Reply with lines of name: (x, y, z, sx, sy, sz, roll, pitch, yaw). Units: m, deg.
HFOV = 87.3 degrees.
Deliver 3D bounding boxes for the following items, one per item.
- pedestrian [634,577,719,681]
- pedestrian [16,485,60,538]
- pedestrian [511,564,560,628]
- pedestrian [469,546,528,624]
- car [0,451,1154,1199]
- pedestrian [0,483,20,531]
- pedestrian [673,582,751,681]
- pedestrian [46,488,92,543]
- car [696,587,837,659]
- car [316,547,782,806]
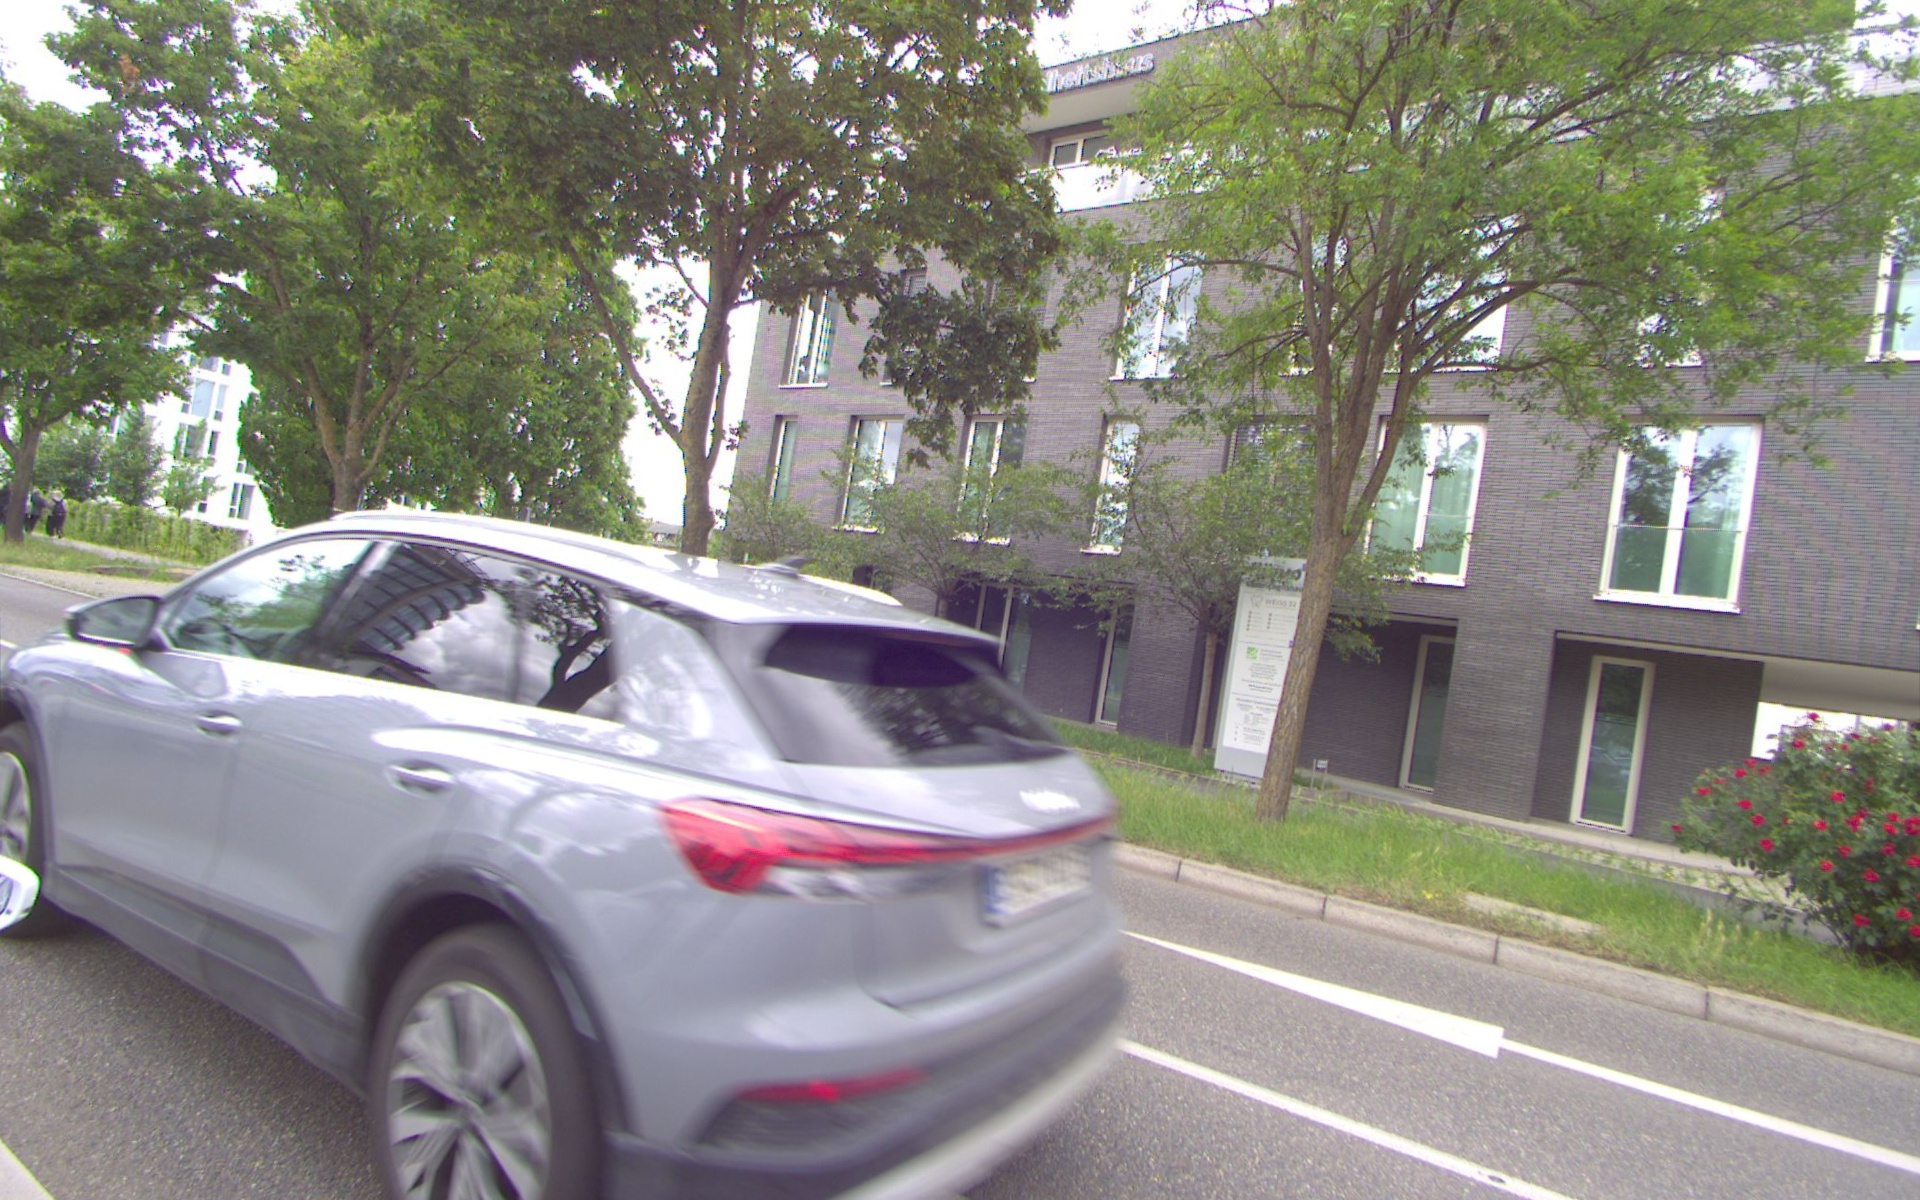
pedestrian: (-5.067, 0.518, 17.968, 1.043, 1.679, 0.796, 7, -1, 38)
pedestrian: (-30.564, -2.931, 33.354, 0.868, 1.614, 0.701, 6, -1, 31)
pedestrian: (-11.371, -0.102, 26.970, 0.821, 1.575, 0.875, 8, -1, -8)
pedestrian: (-12.119, -0.363, 26.452, 0.946, 1.889, 0.978, 8, -1, -8)
car: (-1.750, 0.532, 3.539, 4.242, 1.614, 1.896, 7, -2, 32)
pedestrian: (-31.278, -3.055, 32.608, 1.093, 1.465, 0.791, 6, -1, 31)
pedestrian: (-4.589, 0.586, 18.593, 0.937, 1.679, 0.779, 7, -1, 38)
pedestrian: (-30.077, -2.842, 33.971, 0.868, 1.705, 0.768, 6, -1, 31)
car: (-6.108, 0.718, 31.691, 4.080, 1.665, 1.759, 7, -2, 32)
car: (-3.386, 0.525, 8.174, 3.476, 1.442, 1.656, 7, -1, 32)
